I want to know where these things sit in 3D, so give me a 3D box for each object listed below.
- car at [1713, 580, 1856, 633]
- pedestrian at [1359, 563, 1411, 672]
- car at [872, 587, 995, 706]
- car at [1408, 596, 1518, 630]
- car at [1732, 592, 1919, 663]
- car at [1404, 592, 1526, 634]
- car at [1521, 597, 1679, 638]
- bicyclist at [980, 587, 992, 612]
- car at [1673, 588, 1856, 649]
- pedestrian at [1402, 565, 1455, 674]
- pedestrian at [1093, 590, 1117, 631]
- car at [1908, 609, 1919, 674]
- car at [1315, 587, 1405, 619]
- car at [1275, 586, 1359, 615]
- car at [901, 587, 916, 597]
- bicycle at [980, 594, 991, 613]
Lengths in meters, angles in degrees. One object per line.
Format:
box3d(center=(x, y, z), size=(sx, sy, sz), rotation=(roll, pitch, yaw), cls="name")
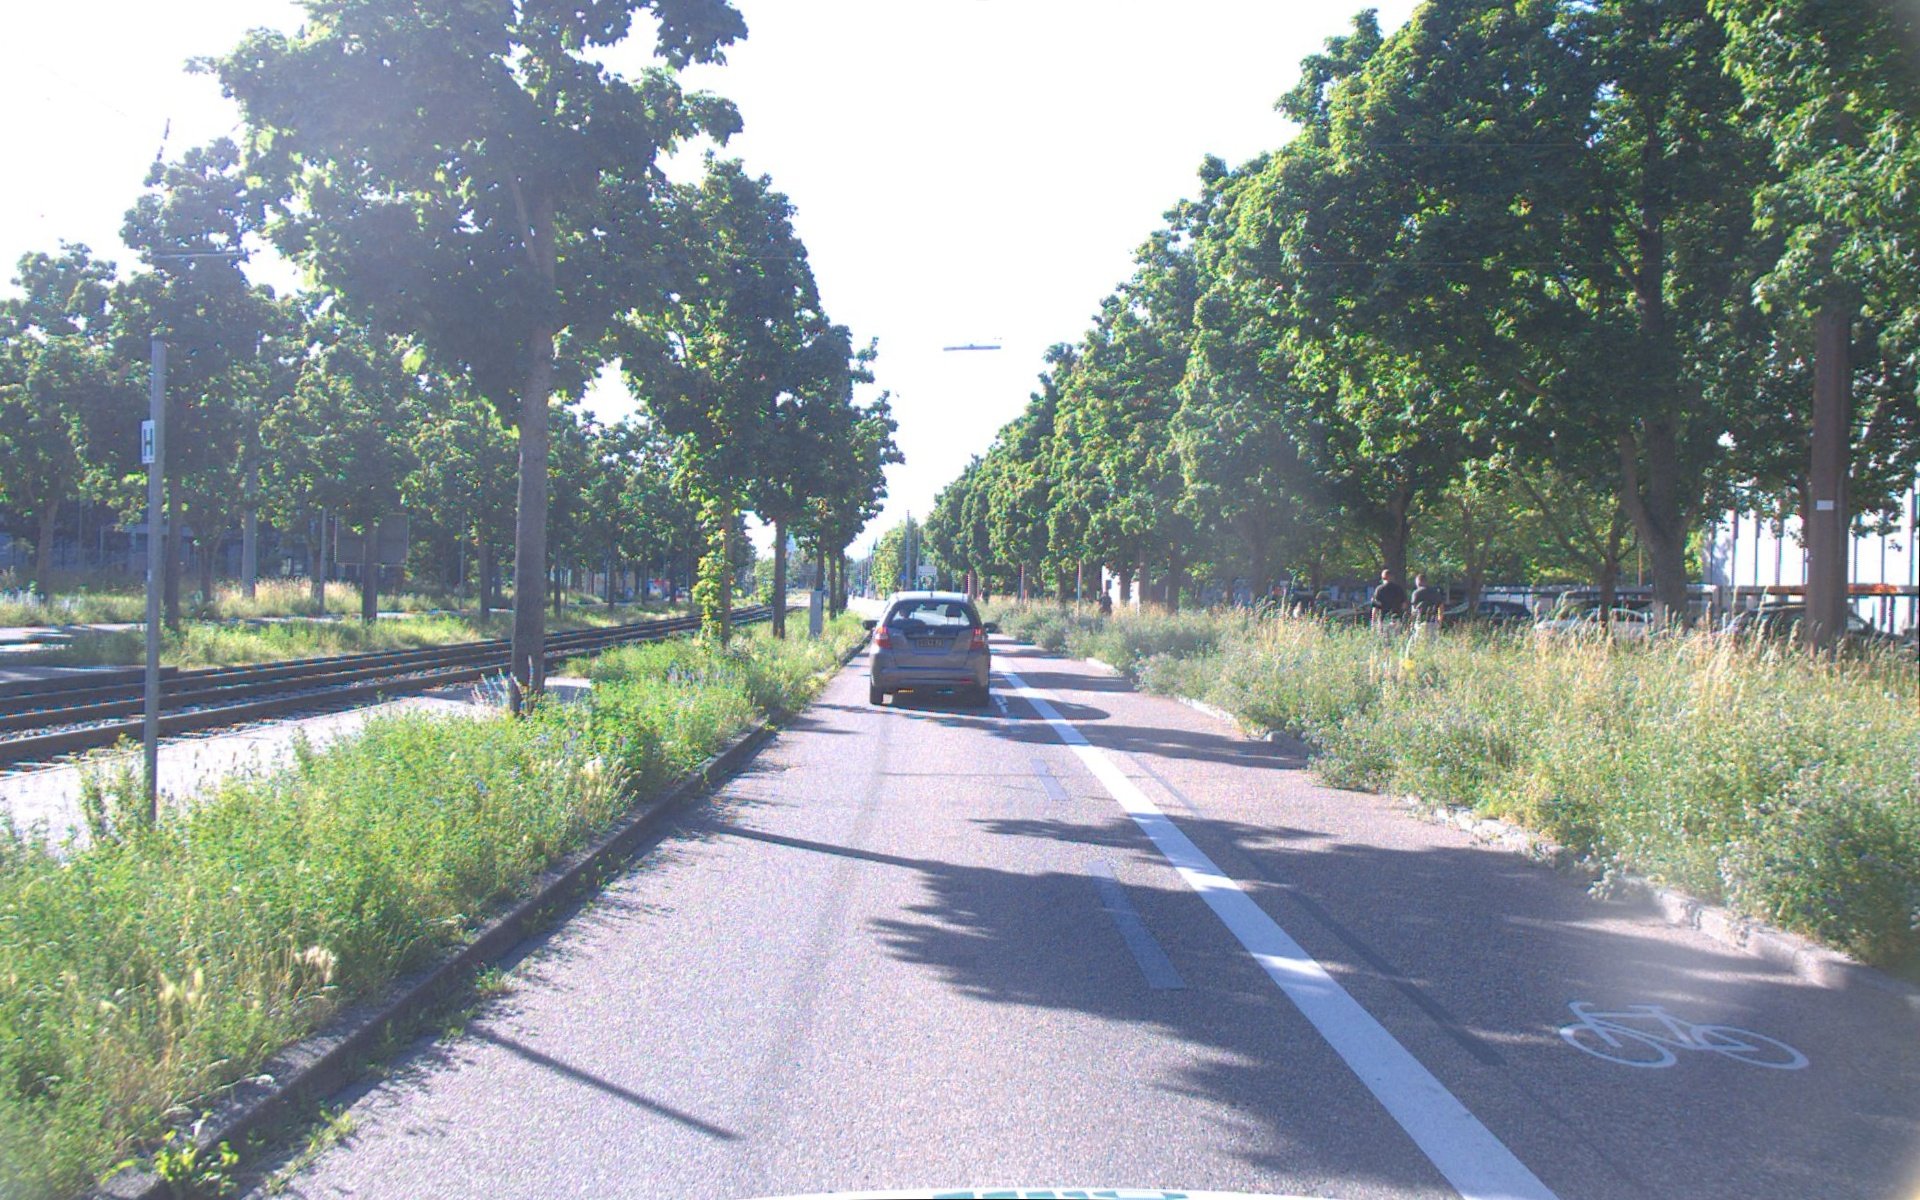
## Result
box3d(center=(32.349, 0.259, 64.933), size=(4.654, 1.984, 1.973), rotation=(1, 1, -3), cls="car")
box3d(center=(7.794, 0.311, 30.333), size=(0.693, 1.951, 0.816), rotation=(1, 0, -1), cls="pedestrian")
box3d(center=(-0.431, 0.604, 23.447), size=(1.592, 1.526, 3.455), rotation=(1, 0, -3), cls="car")
box3d(center=(21.796, 0.560, 71.714), size=(4.203, 1.347, 1.941), rotation=(1, 1, 2), cls="car")
box3d(center=(21.825, 0.675, 41.509), size=(4.258, 1.730, 1.761), rotation=(0, 0, -12), cls="car")
box3d(center=(20.323, 0.513, 66.617), size=(4.306, 1.624, 1.882), rotation=(1, 0, -6), cls="car")
box3d(center=(21.365, 0.584, 55.317), size=(4.605, 1.293, 1.806), rotation=(0, 1, -5), cls="car")
box3d(center=(1.861, -0.011, 117.057), size=(0.670, 1.750, 0.900), rotation=(1, -1, -11), cls="bicyclist")
box3d(center=(21.181, 0.476, 43.605), size=(4.155, 1.562, 1.761), rotation=(0, 0, -12), cls="car")
box3d(center=(8.617, 0.357, 30.427), size=(0.693, 1.964, 0.816), rotation=(1, 0, -1), cls="pedestrian")
box3d(center=(5.708, 0.417, 65.212), size=(0.807, 1.596, 0.762), rotation=(2, 0, -2), cls="pedestrian")
box3d(center=(22.035, 0.928, 34.347), size=(3.907, 1.365, 1.702), rotation=(2, 0, 36), cls="car")
box3d(center=(20.138, 0.148, 83.295), size=(4.079, 1.457, 1.825), rotation=(2, 0, 1), cls="car")
box3d(center=(19.672, 0.013, 91.218), size=(4.266, 1.484, 1.689), rotation=(1, 0, 1), cls="car")
box3d(center=(-7.557, -1.163, 242.839), size=(1.741, 1.411, 3.862), rotation=(0, 0, -9), cls="car")
box3d(center=(1.820, 0.250, 117.090), size=(0.473, 1.225, 2.139), rotation=(1, -2, -7), cls="bicycle")
